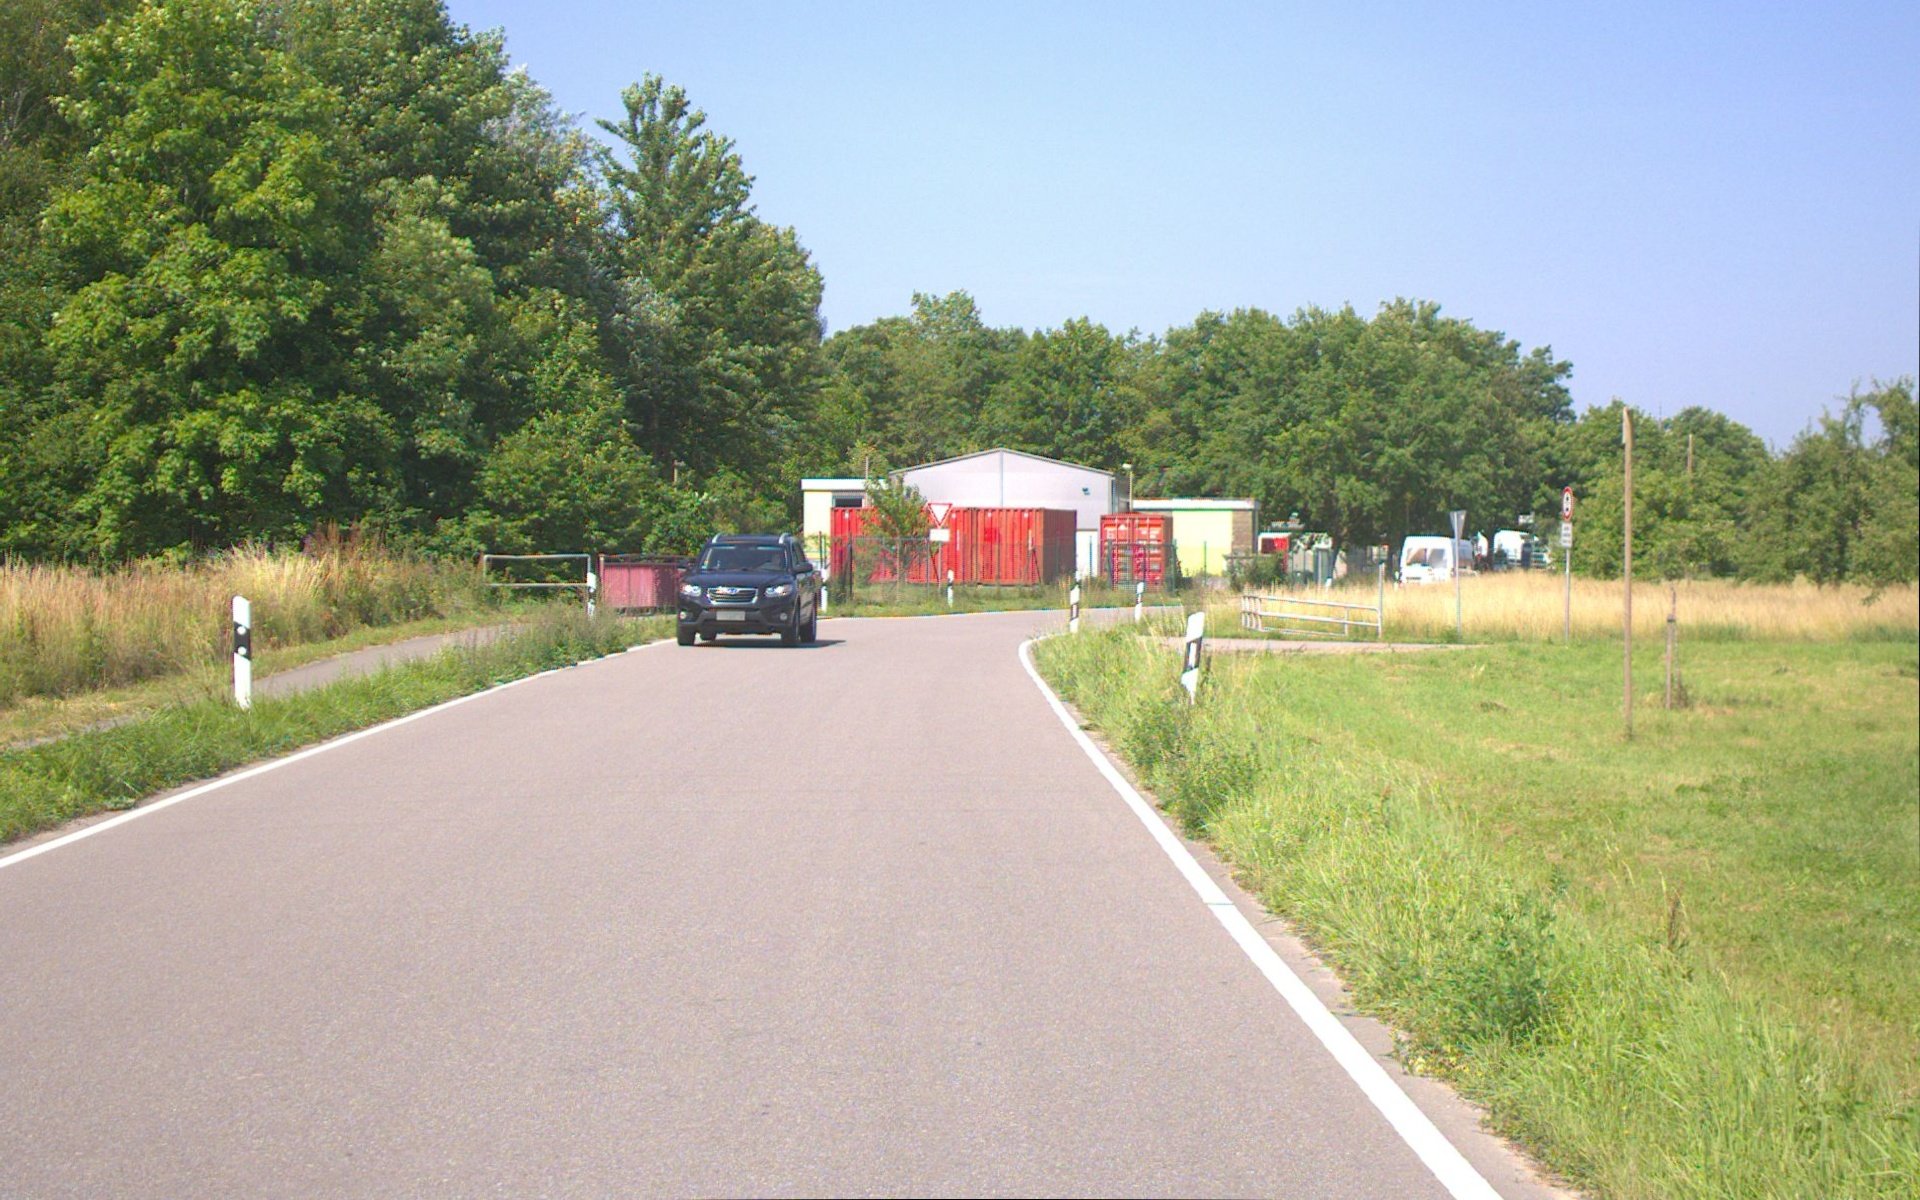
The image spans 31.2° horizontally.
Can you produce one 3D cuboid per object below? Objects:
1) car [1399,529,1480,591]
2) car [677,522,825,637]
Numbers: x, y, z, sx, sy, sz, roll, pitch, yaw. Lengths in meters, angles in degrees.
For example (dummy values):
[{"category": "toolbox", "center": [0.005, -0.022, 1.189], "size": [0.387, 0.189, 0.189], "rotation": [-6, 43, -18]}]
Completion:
[{"category": "car", "center": [17.833, -1.491, 127.796], "size": [1.995, 2.258, 4.721], "rotation": [1, 1, 20]}, {"category": "car", "center": [-3.281, -0.344, 54.660], "size": [1.866, 1.747, 4.296], "rotation": [0, 1, 3]}]
